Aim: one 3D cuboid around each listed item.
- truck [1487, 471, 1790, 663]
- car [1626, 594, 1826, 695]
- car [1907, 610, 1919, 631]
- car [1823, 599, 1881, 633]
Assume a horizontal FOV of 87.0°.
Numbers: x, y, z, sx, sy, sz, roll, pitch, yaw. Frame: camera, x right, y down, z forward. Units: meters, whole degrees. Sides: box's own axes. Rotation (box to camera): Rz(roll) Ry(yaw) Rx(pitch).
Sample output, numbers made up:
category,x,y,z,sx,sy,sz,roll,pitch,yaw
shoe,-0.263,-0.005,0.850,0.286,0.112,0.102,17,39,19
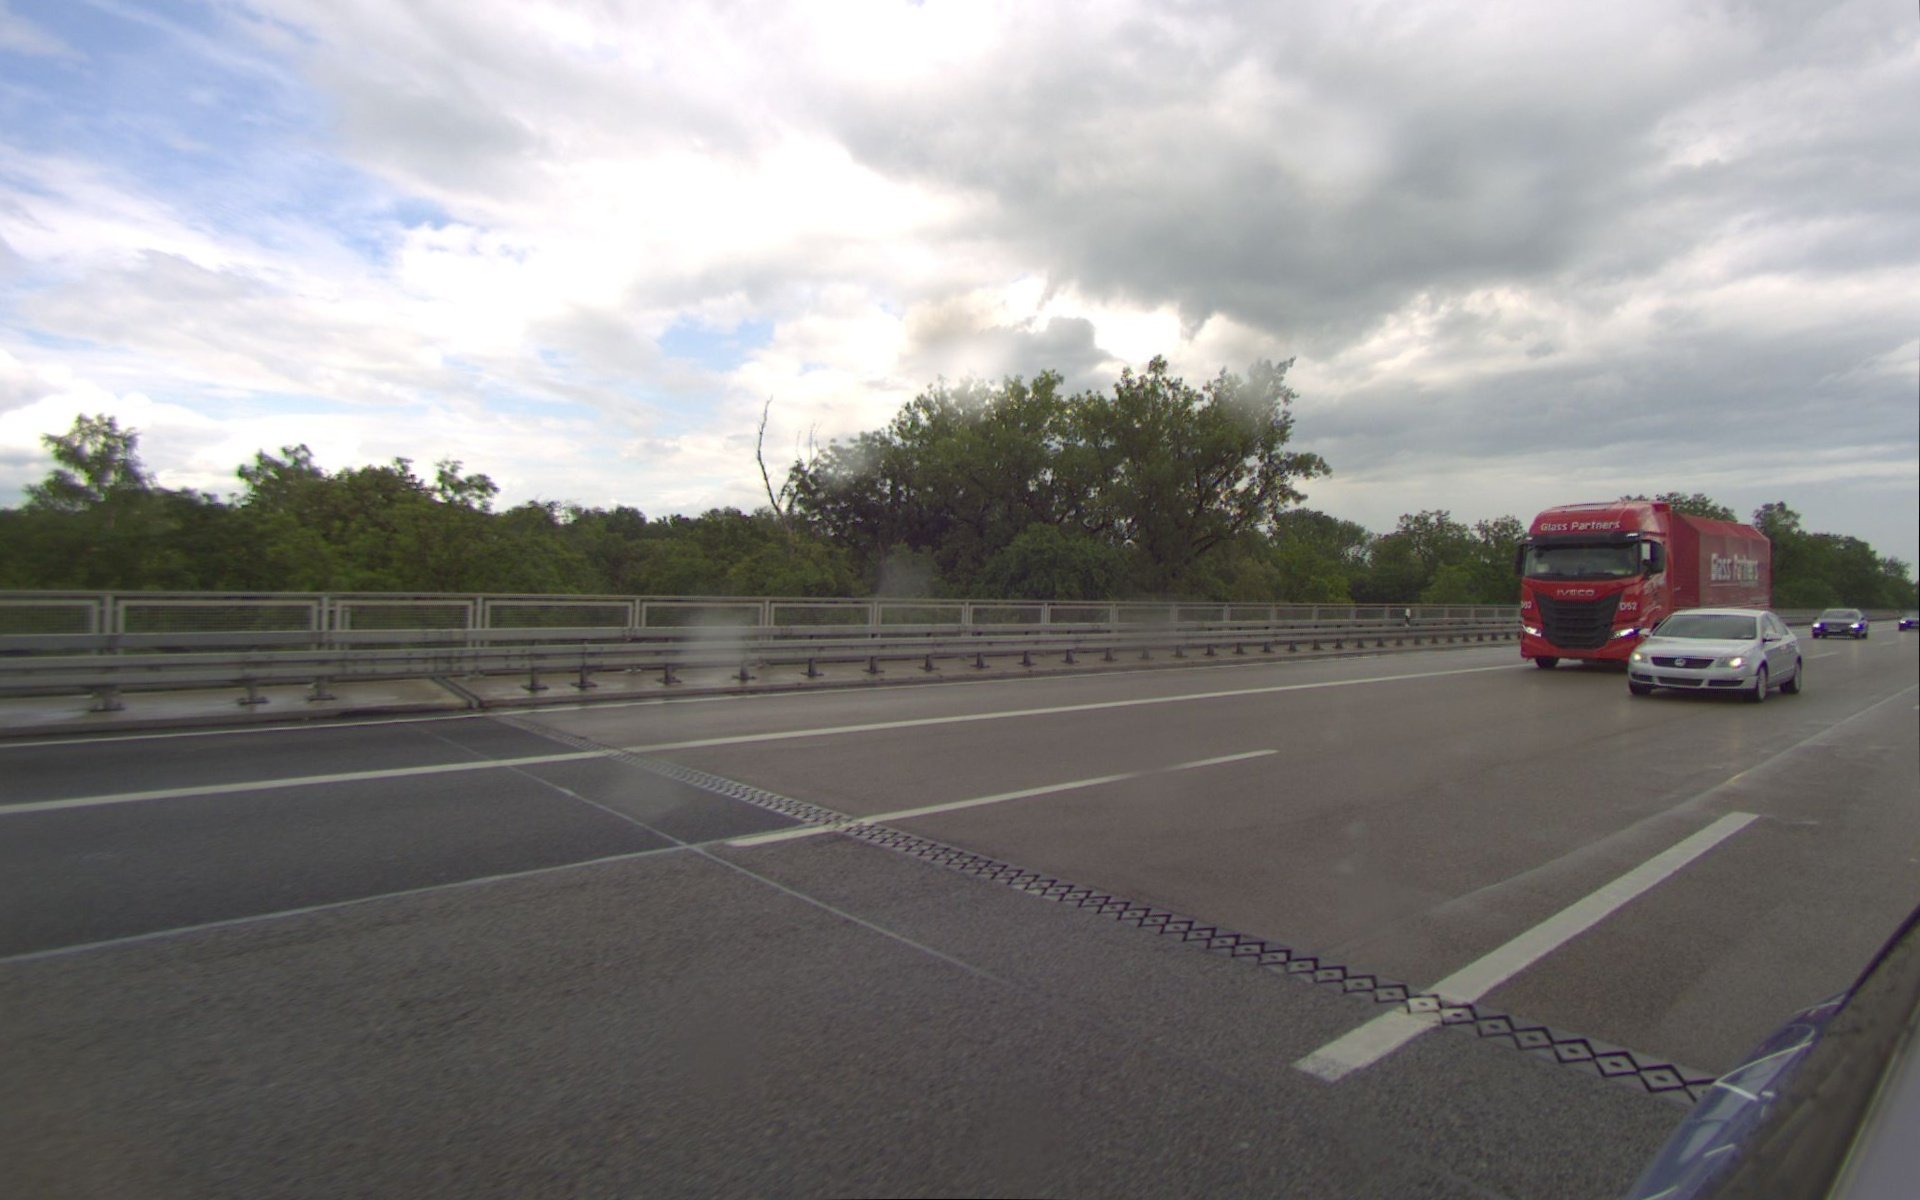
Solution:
category,x,y,z,sx,sy,sz,roll,pitch,yaw
truck,19.151,-0.590,27.663,15.365,4.054,3.157,1,0,-42
car,12.993,0.690,17.078,4.171,1.465,1.897,1,0,-41
car,68.424,1.495,71.646,4.511,1.465,1.778,1,0,-44
car,43.981,0.795,49.874,4.285,1.563,1.816,1,0,-44
